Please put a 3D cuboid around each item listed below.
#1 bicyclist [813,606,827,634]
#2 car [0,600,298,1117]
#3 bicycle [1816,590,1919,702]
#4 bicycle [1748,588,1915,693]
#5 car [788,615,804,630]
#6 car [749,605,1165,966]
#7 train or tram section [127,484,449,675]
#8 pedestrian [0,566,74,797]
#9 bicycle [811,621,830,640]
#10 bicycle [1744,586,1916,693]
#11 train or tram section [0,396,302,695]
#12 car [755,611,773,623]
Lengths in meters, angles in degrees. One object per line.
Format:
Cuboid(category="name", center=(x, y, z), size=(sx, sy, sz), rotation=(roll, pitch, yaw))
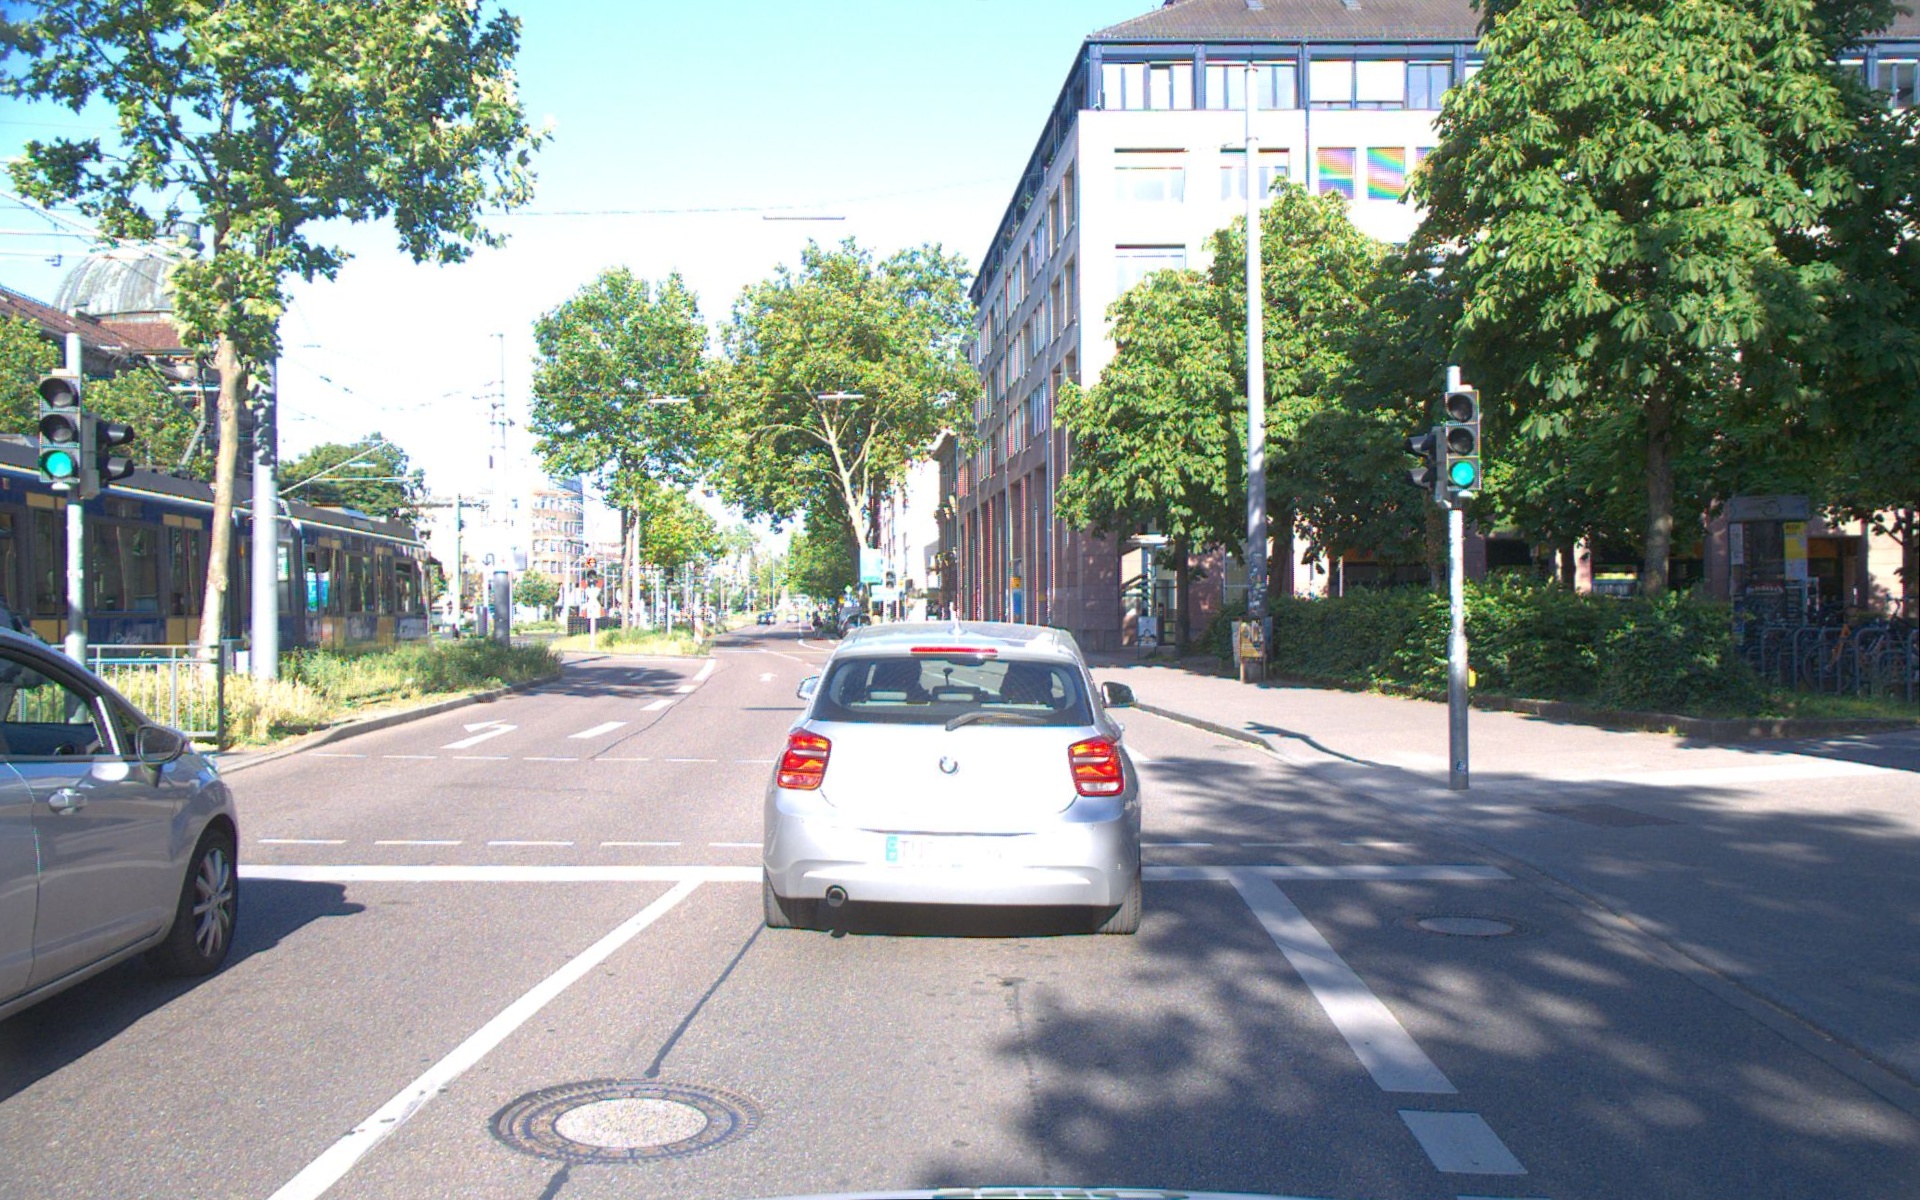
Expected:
Cuboid(category="bicyclist", center=(-8.402, 1.199, 99.278), size=(0.644, 1.686, 0.765), rotation=(-1, -1, 3))
Cuboid(category="car", center=(-3.498, 0.714, 5.072), size=(1.627, 1.434, 3.629), rotation=(1, -1, -3))
Cuboid(category="bicycle", center=(11.876, 0.554, 20.754), size=(1.956, 1.337, 0.573), rotation=(-2, -1, -2))
Cuboid(category="bicycle", center=(11.943, 0.550, 22.688), size=(1.956, 1.337, 0.573), rotation=(-2, -1, -2))
Cuboid(category="car", center=(-24.707, 3.374, 248.865), size=(1.953, 2.049, 3.999), rotation=(1, -2, -1))
Cuboid(category="car", center=(0.058, 0.765, 8.725), size=(1.694, 1.415, 3.841), rotation=(1, 0, 2))
Cuboid(category="train or tram section", center=(-13.896, -0.207, 35.820), size=(2.858, 3.317, 13.093), rotation=(1, -2, -6))
Cuboid(category="pedestrian", center=(-7.081, 0.588, 12.122), size=(0.934, 1.657, 0.620), rotation=(1, -1, -37))
Cuboid(category="bicycle", center=(-8.375, 1.828, 99.313), size=(0.814, 1.059, 1.875), rotation=(-1, 0, 4))
Cuboid(category="bicycle", center=(11.590, 0.524, 22.058), size=(1.956, 1.337, 0.573), rotation=(-2, -1, -2))
Cuboid(category="train or tram section", center=(-12.415, -0.558, 21.399), size=(2.858, 3.317, 15.872), rotation=(1, -2, -6))
Cuboid(category="car", center=(-25.578, 2.201, 215.455), size=(1.959, 1.512, 3.986), rotation=(0, 0, -13))
